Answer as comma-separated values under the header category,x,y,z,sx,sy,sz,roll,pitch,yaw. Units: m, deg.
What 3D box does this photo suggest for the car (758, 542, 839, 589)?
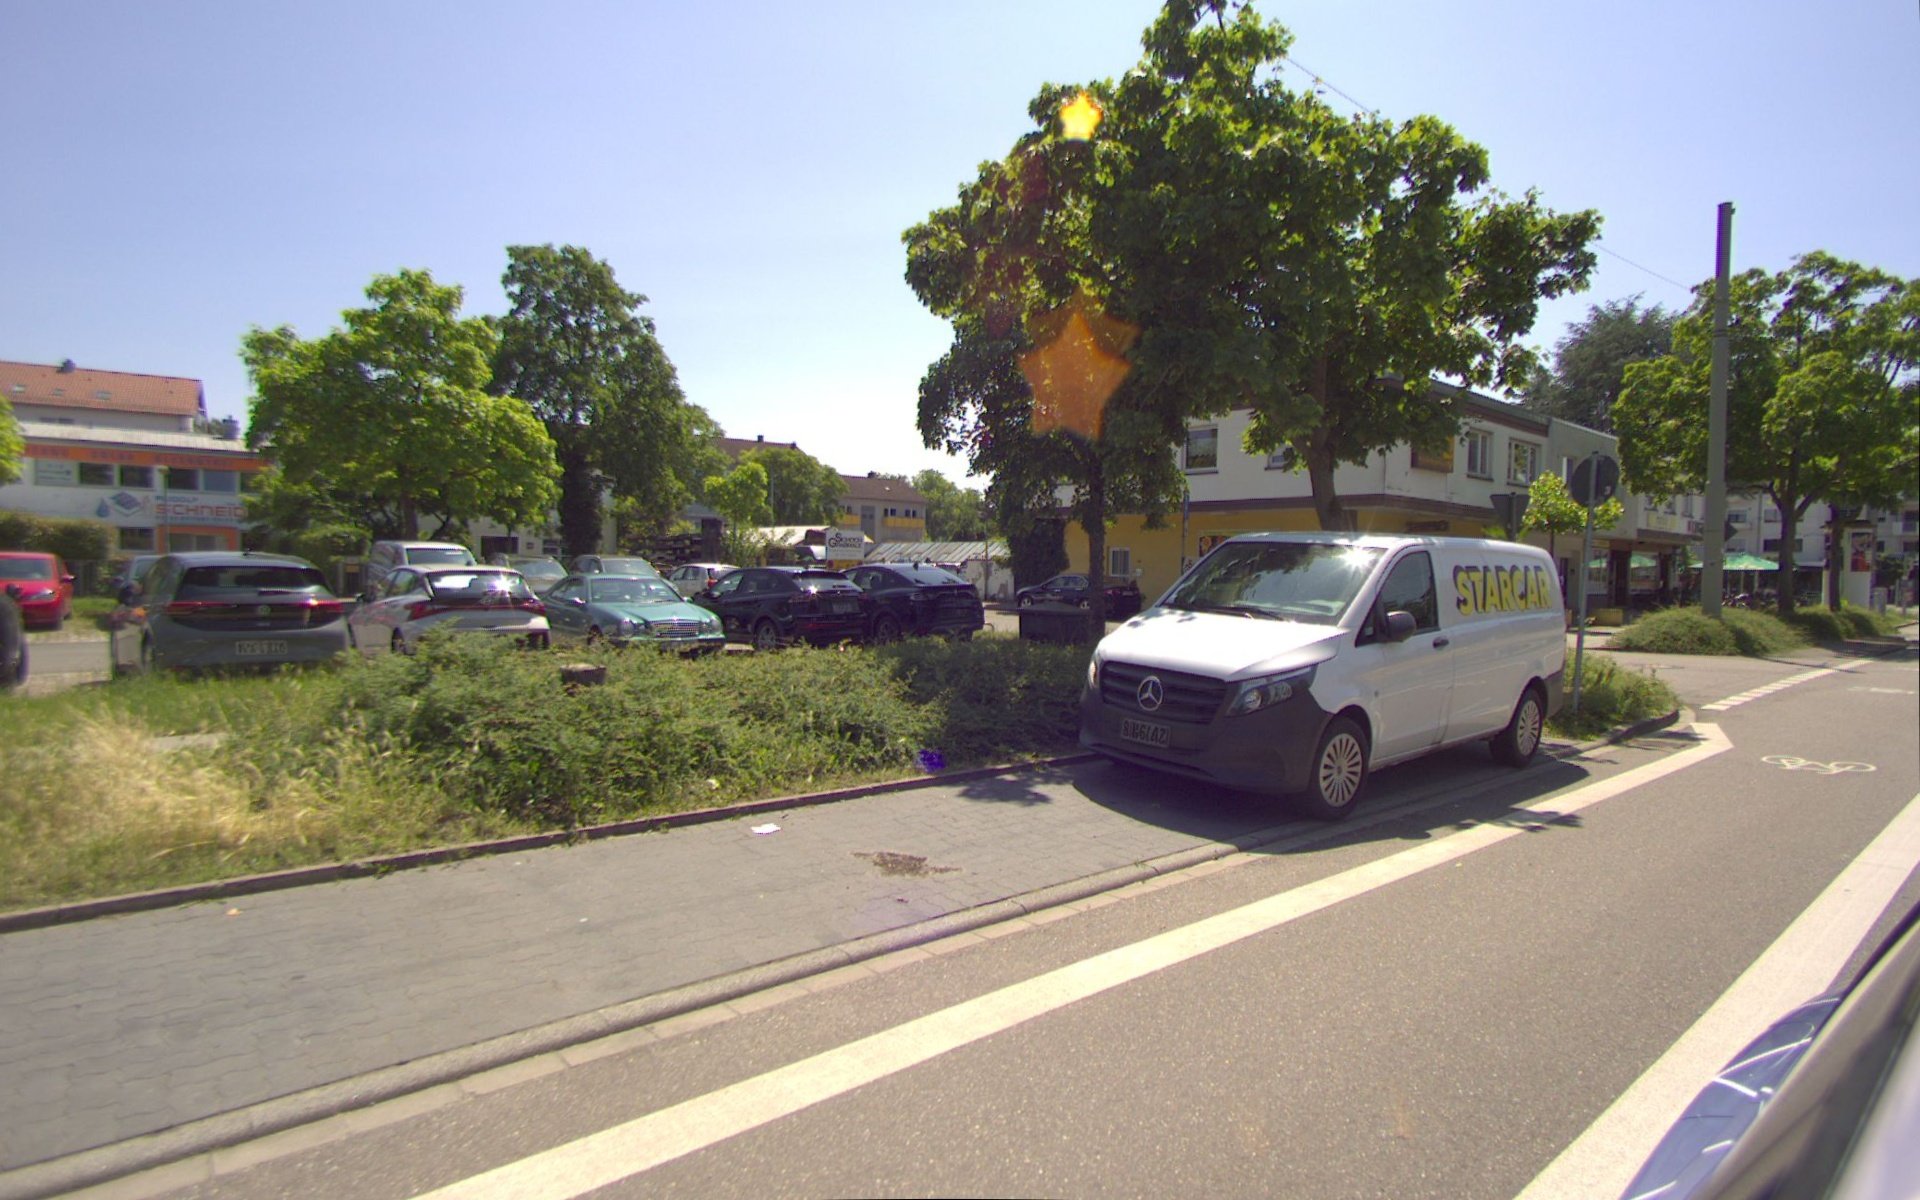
category,x,y,z,sx,sy,sz,roll,pitch,yaw
car,-8.823,-1.865,55.068,1.965,2.443,5.082,0,2,-41

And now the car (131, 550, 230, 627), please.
category,x,y,z,sx,sy,sz,roll,pitch,yaw
car,-17.318,-0.327,22.414,1.603,1.454,4.321,-1,4,-39

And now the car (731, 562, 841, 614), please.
category,x,y,z,sx,sy,sz,roll,pitch,yaw
car,-5.488,-0.419,31.623,1.603,1.386,3.990,-1,4,-39

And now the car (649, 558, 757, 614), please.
category,x,y,z,sx,sy,sz,roll,pitch,yaw
car,-7.804,-0.461,30.477,1.603,1.461,3.990,-1,4,-39

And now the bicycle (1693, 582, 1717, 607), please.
category,x,y,z,sx,sy,sz,roll,pitch,yaw
bicycle,32.597,-0.258,44.286,0.542,1.081,1.990,2,2,44

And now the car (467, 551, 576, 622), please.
category,x,y,z,sx,sy,sz,roll,pitch,yaw
car,-11.562,-0.407,26.547,1.603,1.624,3.990,-1,4,-40

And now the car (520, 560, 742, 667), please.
category,x,y,z,sx,sy,sz,roll,pitch,yaw
car,-4.912,0.171,14.801,1.698,1.342,3.892,-1,0,-41

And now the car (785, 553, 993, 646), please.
category,x,y,z,sx,sy,sz,roll,pitch,yaw
car,-1.420,-0.006,18.711,1.650,1.509,4.205,-1,0,-41

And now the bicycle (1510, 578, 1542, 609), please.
category,x,y,z,sx,sy,sz,roll,pitch,yaw
bicycle,20.898,-0.250,37.354,0.542,1.081,1.871,2,2,44

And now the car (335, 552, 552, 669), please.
category,x,y,z,sx,sy,sz,roll,pitch,yaw
car,-7.035,0.118,13.586,1.698,1.342,3.892,-1,0,-41

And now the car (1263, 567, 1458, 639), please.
category,x,y,z,sx,sy,sz,roll,pitch,yaw
car,9.940,0.013,25.327,1.912,1.630,4.143,-1,2,-43

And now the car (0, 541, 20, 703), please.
category,x,y,z,sx,sy,sz,roll,pitch,yaw
car,-10.689,0.222,10.237,1.699,1.490,3.890,-1,0,-43

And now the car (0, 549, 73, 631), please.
category,x,y,z,sx,sy,sz,roll,pitch,yaw
car,-19.425,-0.263,20.823,1.603,1.454,4.321,-1,4,-39

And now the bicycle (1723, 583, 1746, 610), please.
category,x,y,z,sx,sy,sz,roll,pitch,yaw
bicycle,33.196,-0.163,43.376,0.542,1.081,1.990,2,2,44

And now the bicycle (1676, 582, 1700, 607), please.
category,x,y,z,sx,sy,sz,roll,pitch,yaw
bicycle,32.150,-0.241,44.693,0.542,1.081,1.990,2,2,44

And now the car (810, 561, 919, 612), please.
category,x,y,z,sx,sy,sz,roll,pitch,yaw
car,-3.187,-0.484,33.254,1.603,1.454,3.990,-1,4,-39

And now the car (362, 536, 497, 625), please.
category,x,y,z,sx,sy,sz,roll,pitch,yaw
car,-13.159,-0.558,24.947,1.875,1.923,4.928,-1,4,-41

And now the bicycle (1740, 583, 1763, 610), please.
category,x,y,z,sx,sy,sz,roll,pitch,yaw
bicycle,33.589,-0.153,42.941,0.542,1.081,1.990,2,2,44

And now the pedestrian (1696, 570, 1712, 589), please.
category,x,y,z,sx,sy,sz,roll,pitch,yaw
pedestrian,63.184,-1.758,85.975,0.925,1.645,0.808,0,2,-35

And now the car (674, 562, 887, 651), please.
category,x,y,z,sx,sy,sz,roll,pitch,yaw
car,-3.066,0.091,16.757,1.698,1.297,3.892,-1,0,-41

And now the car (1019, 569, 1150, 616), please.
category,x,y,z,sx,sy,sz,roll,pitch,yaw
car,3.949,-0.275,32.594,1.717,1.391,4.148,-1,2,-40

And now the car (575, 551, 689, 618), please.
category,x,y,z,sx,sy,sz,roll,pitch,yaw
car,-9.149,-0.477,28.030,1.638,1.620,3.990,-1,4,-40

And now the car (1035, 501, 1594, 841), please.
category,x,y,z,sx,sy,sz,roll,pitch,yaw
car,3.082,0.318,8.116,5.034,1.939,1.884,-1,4,-41

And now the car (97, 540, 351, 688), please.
category,x,y,z,sx,sy,sz,roll,pitch,yaw
car,-8.477,0.136,11.529,3.886,1.397,1.701,-1,0,44
